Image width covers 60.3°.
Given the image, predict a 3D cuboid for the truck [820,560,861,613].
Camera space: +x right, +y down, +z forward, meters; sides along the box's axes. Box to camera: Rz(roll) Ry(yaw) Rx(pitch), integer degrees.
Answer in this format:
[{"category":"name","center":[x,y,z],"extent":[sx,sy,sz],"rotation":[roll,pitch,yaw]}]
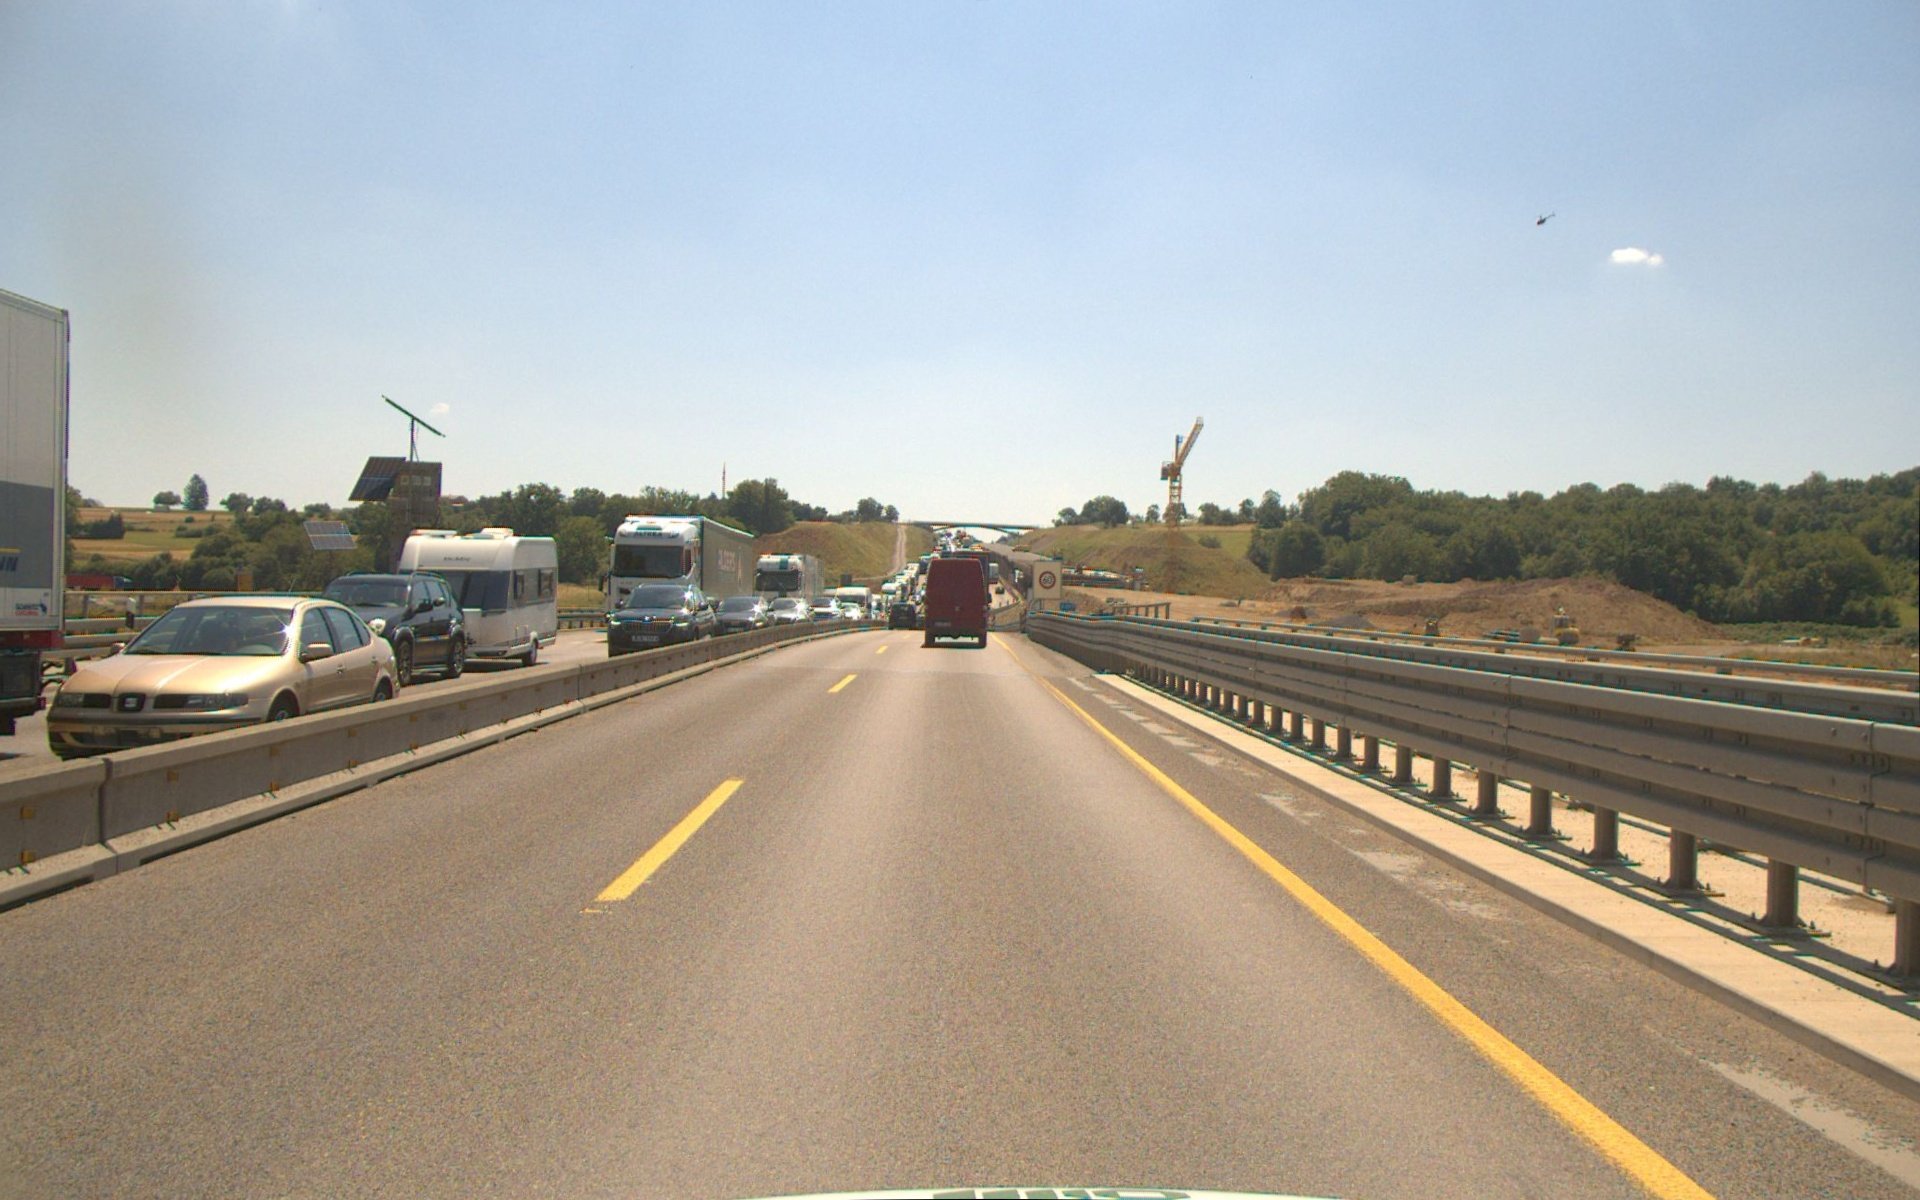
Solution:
[{"category":"truck","center":[-10.079,-1.154,140.347],"extent":[2.746,4.224,10.076],"rotation":[2,0,-1]}]

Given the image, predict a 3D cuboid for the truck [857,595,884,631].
[{"category":"truck","center":[-10.911,1.644,200.957],"extent":[2.920,4.258,5.866],"rotation":[1,-1,-6]}]

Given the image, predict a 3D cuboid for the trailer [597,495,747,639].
[{"category":"trailer","center":[-9.918,-1.054,58.729],"extent":[3.038,4.543,13.019],"rotation":[0,0,0]}]

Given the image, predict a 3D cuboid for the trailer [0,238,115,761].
[{"category":"trailer","center":[-9.108,-0.784,9.365],"extent":[2.749,4.249,11.796],"rotation":[1,1,-1]}]

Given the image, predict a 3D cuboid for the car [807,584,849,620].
[{"category":"car","center":[-6.486,0.096,81.342],"extent":[1.721,1.675,4.155],"rotation":[2,0,-1]}]

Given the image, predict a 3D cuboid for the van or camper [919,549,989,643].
[{"category":"van or camper","center":[-0.233,-0.114,51.964],"extent":[1.988,2.792,4.513],"rotation":[1,0,-2]}]

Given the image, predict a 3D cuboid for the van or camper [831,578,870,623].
[{"category":"van or camper","center":[-6.563,0.007,99.547],"extent":[2.175,2.555,6.528],"rotation":[2,0,-4]}]

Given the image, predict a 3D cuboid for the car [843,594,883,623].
[{"category":"car","center":[-6.510,0.528,111.703],"extent":[2.323,1.756,5.780],"rotation":[3,0,0]}]

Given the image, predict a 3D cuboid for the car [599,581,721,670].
[{"category":"car","center":[-6.381,0.501,35.668],"extent":[1.810,1.717,4.617],"rotation":[2,0,-1]}]

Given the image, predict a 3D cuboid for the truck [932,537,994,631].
[{"category":"truck","center":[0.107,-0.834,88.550],"extent":[2.960,4.775,6.929],"rotation":[-1,0,-2]}]

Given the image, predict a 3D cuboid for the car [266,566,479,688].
[{"category":"car","center":[-9.263,0.381,26.515],"extent":[1.731,1.765,4.790],"rotation":[0,0,0]}]

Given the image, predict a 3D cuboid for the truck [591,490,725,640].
[{"category":"truck","center":[-9.835,-1.087,54.593],"extent":[3.014,4.616,7.103],"rotation":[1,0,0]}]

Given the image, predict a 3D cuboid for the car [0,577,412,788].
[{"category":"car","center":[-6.320,0.587,14.212],"extent":[1.863,1.487,4.193],"rotation":[-2,1,-1]}]

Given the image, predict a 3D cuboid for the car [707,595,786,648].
[{"category":"car","center":[-6.463,0.622,50.497],"extent":[1.741,1.445,4.537],"rotation":[2,0,0]}]

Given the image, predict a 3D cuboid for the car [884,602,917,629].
[{"category":"car","center":[-3.607,0.949,100.717],"extent":[1.971,1.572,4.131],"rotation":[1,0,-2]}]

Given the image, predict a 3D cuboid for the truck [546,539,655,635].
[{"category":"truck","center":[-15.447,-0.569,71.744],"extent":[2.845,3.830,8.367],"rotation":[2,0,0]}]

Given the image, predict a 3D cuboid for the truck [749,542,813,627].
[{"category":"truck","center":[-9.712,-0.811,90.403],"extent":[2.749,4.469,6.225],"rotation":[1,0,0]}]

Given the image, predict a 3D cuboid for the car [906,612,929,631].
[{"category":"car","center":[-3.754,1.877,147.813],"extent":[1.971,1.572,4.131],"rotation":[2,0,-1]}]

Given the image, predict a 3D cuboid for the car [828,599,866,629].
[{"category":"car","center":[-6.163,0.744,90.243],"extent":[1.954,1.524,4.970],"rotation":[2,0,-5]}]

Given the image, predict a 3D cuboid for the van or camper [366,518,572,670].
[{"category":"van or camper","center":[-9.572,-0.113,32.793],"extent":[2.452,2.746,5.243],"rotation":[1,0,0]}]

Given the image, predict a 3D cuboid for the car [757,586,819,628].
[{"category":"car","center":[-6.549,0.253,63.532],"extent":[1.827,1.484,4.607],"rotation":[2,0,0]}]
